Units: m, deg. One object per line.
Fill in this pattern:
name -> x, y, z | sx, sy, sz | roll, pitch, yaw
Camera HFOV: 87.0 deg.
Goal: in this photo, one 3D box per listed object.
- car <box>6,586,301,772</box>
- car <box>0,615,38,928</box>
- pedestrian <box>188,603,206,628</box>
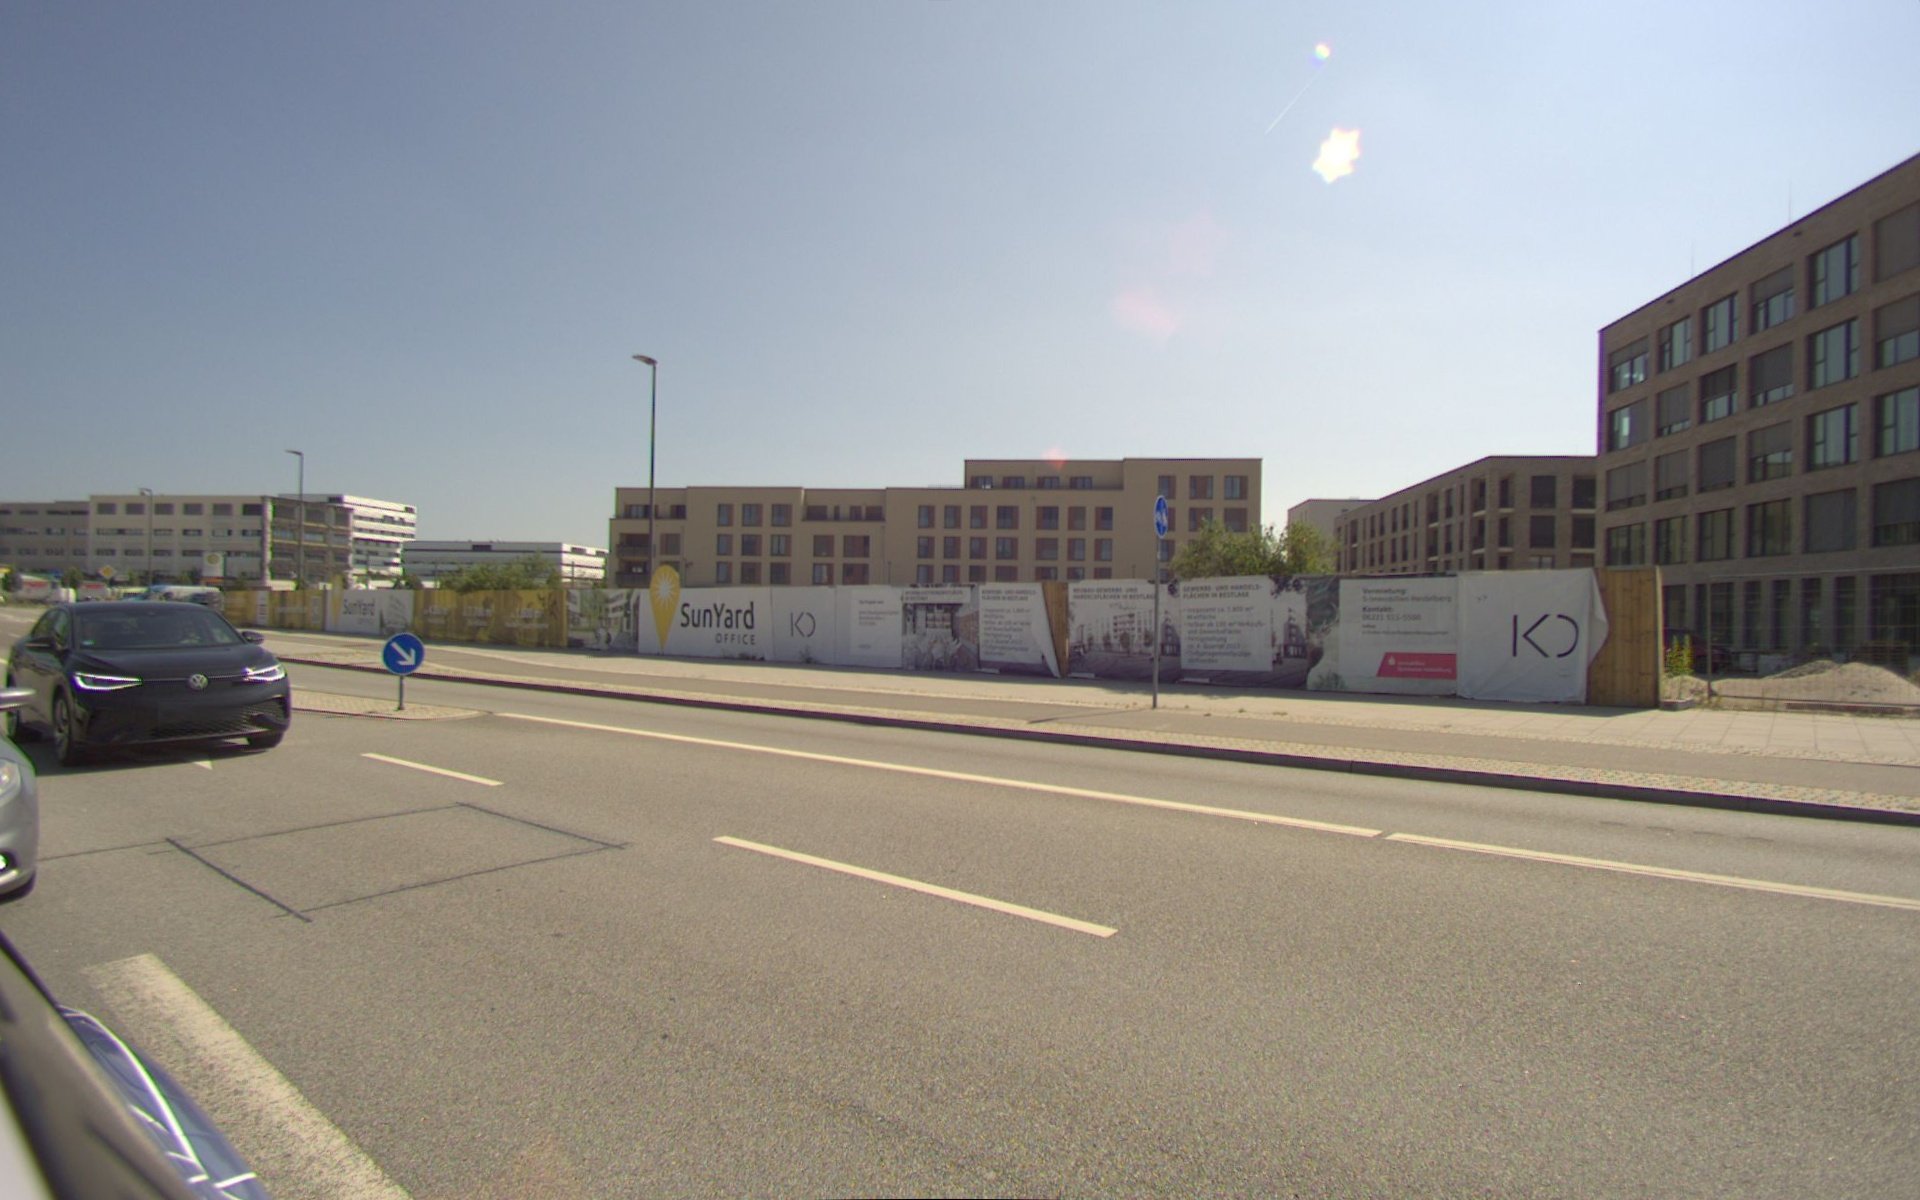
car -> -8.952, 0.714, 11.098 | 4.364, 1.654, 1.783 | -1, 0, 41
car -> -6.316, 0.791, 5.292 | 4.134, 1.390, 1.762 | -1, 0, 41
pedestrian -> -49.026, 0.988, 65.053 | 0.610, 1.598, 0.703 | -1, 0, 5
